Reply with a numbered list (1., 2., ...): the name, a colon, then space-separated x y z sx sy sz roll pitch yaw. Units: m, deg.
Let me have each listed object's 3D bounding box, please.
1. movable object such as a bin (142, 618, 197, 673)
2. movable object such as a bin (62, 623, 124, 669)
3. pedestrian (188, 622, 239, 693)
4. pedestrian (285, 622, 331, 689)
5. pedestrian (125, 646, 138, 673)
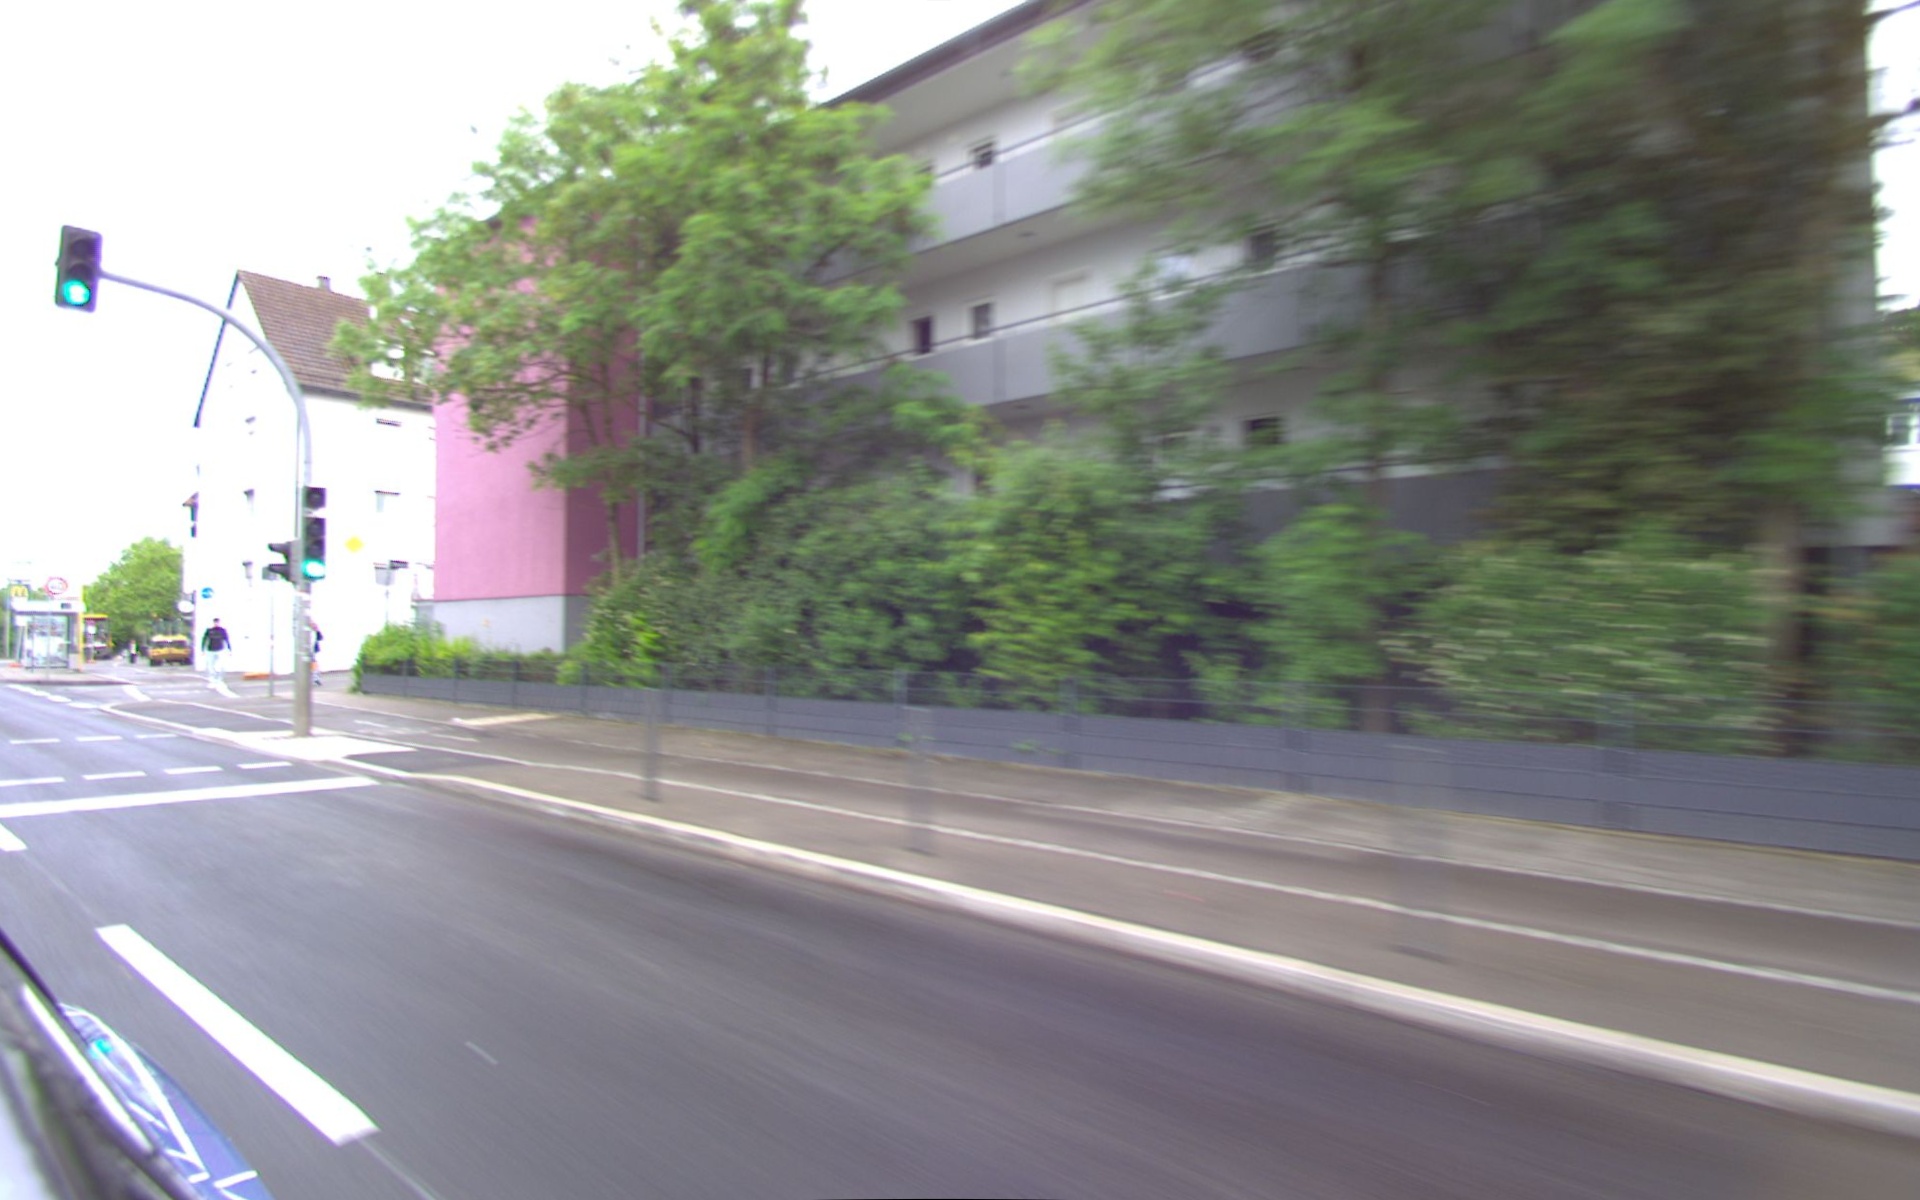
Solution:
1. movable object such as a bin: -43.027 2.503 55.167 2.101 2.828 4.990 -1 -2 -35
2. movable object such as a bin: -76.594 4.102 89.584 2.907 3.873 8.149 1 -3 -32
3. pedestrian: -20.258 1.557 27.467 1.043 1.897 0.853 -3 -4 39
4. pedestrian: -18.214 1.548 28.283 1.115 1.835 0.797 -3 -3 40
5. pedestrian: -49.961 3.593 61.034 0.595 1.540 1.040 0 -3 -39
